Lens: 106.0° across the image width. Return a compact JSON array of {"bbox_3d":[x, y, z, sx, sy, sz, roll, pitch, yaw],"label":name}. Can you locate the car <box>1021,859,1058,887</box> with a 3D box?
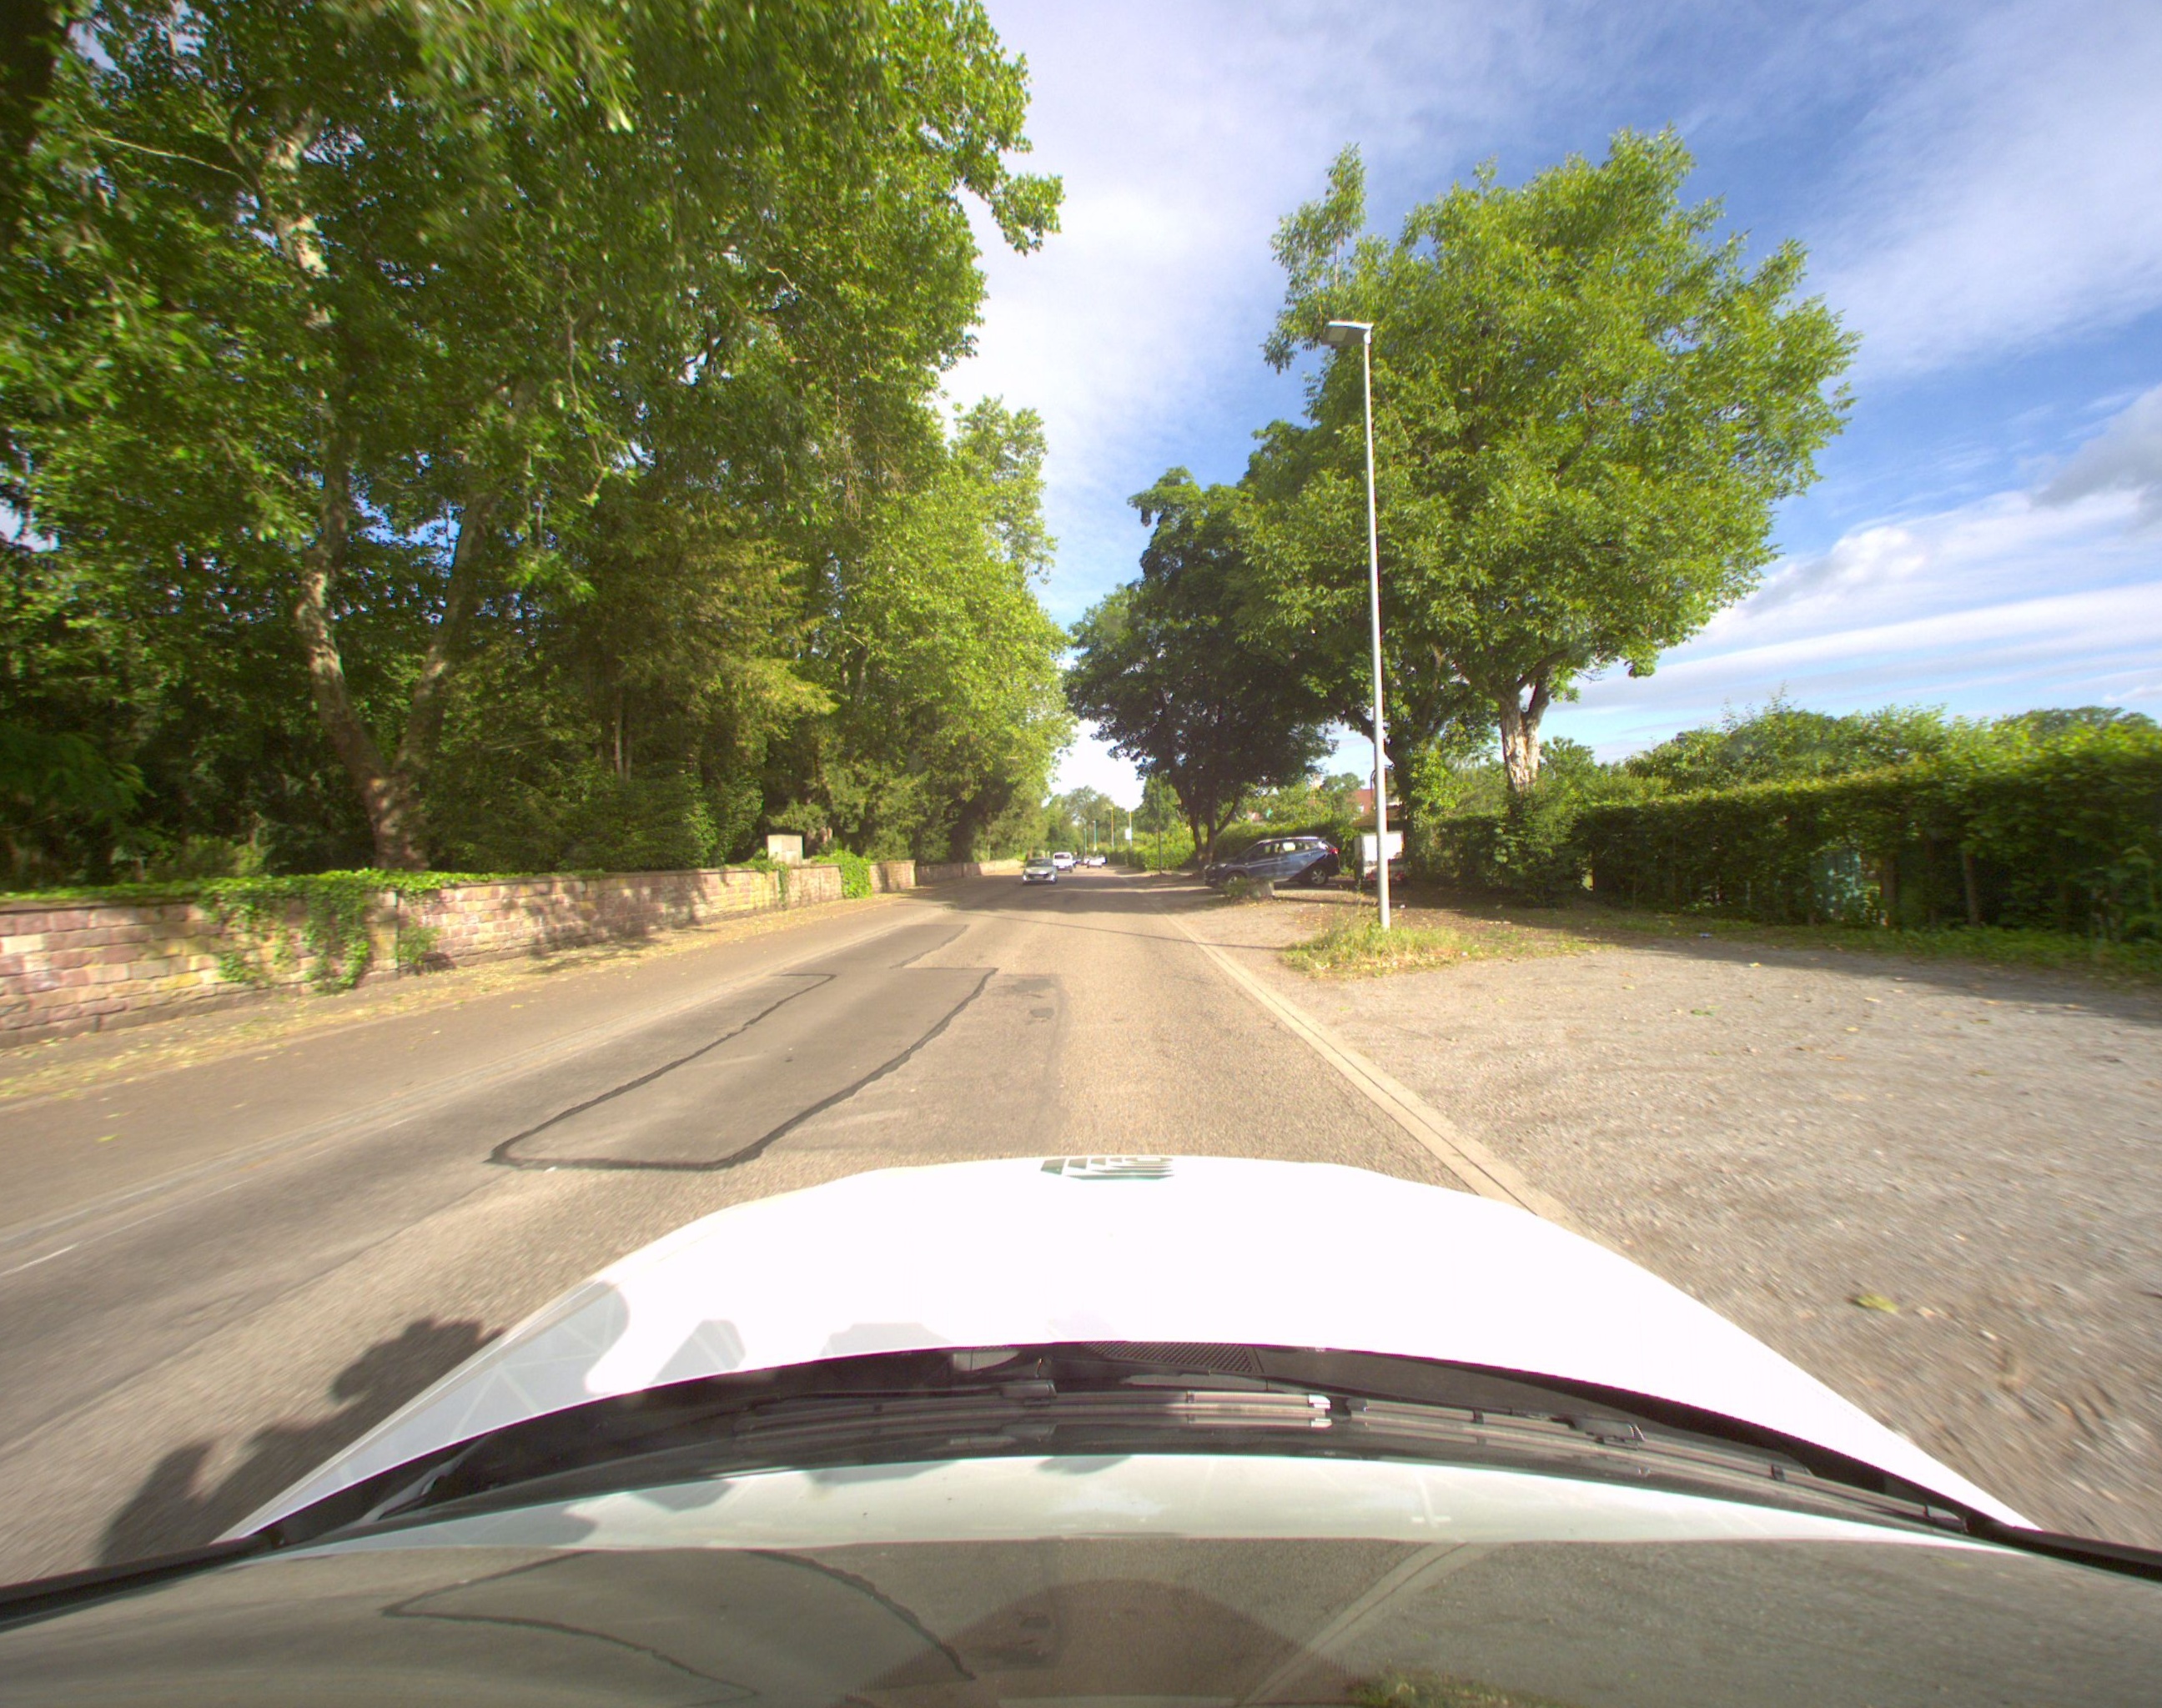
[{"bbox_3d":[-2.226,0.995,44.487,1.881,1.372,4.052,-2,0,-2],"label":"car"}]

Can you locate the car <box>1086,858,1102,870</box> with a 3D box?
[{"bbox_3d":[1.554,1.222,97.330,1.880,1.372,4.053,-2,0,0],"label":"car"}]

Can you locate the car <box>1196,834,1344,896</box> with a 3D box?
[{"bbox_3d":[6.195,0.348,27.113,4.387,1.646,2.001,-4,0,1],"label":"car"}]

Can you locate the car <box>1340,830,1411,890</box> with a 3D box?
[{"bbox_3d":[9.034,0.146,25.214,1.342,1.632,4.124,-4,0,11],"label":"car"}]

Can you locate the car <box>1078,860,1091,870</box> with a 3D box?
[{"bbox_3d":[0.578,1.623,124.733,1.880,1.465,4.053,-2,0,0],"label":"car"}]

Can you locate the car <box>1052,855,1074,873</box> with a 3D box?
[{"bbox_3d":[-1.585,0.891,72.895,1.880,1.564,4.053,-2,0,0],"label":"car"}]

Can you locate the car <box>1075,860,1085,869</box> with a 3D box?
[{"bbox_3d":[-0.183,1.925,147.438,1.880,1.613,4.053,-2,0,0],"label":"car"}]
